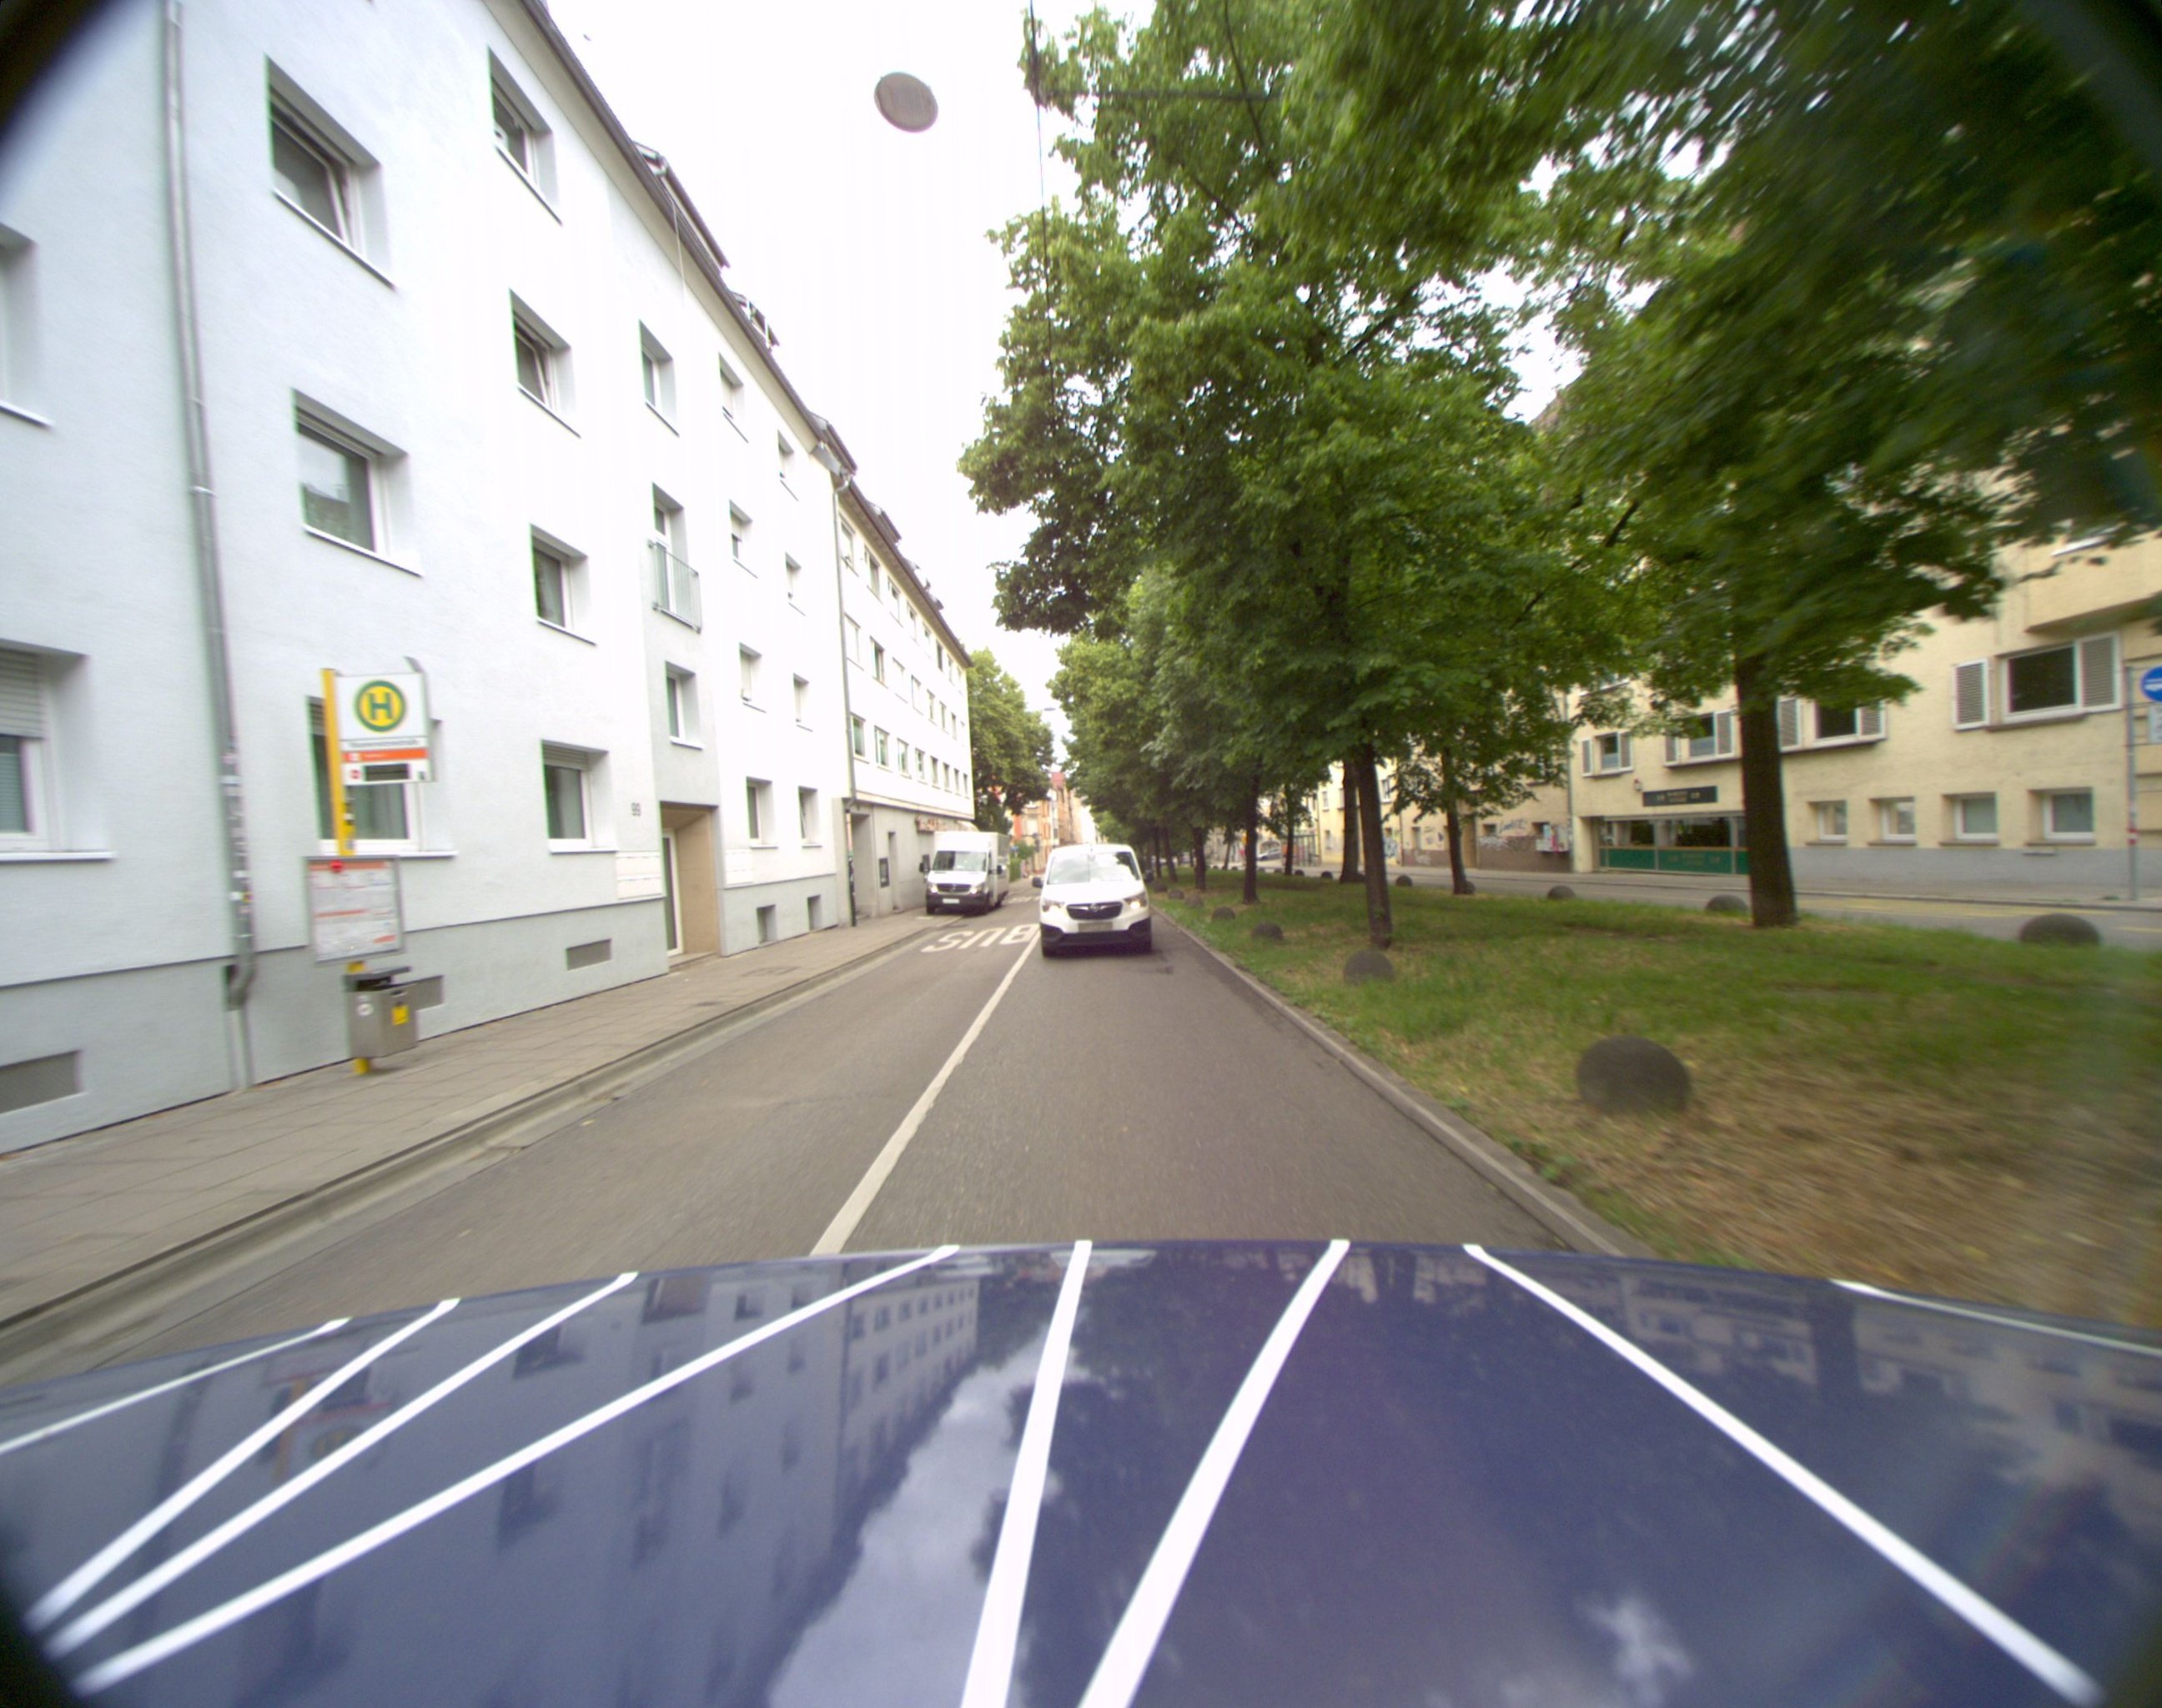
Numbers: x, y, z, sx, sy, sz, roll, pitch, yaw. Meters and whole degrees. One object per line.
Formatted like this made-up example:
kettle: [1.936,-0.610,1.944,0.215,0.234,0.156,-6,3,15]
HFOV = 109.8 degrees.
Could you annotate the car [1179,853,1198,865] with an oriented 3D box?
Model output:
car: [15.112,0.696,107.176,1.953,1.619,4.365,-2,0,0]

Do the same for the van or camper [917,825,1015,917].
van or camper: [-3.884,0.536,27.194,2.486,2.786,7.237,-2,0,-1]

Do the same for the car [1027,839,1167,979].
car: [0.455,0.748,12.560,1.745,1.830,4.345,-3,0,8]

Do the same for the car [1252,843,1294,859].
car: [22.052,-0.326,87.437,4.298,1.411,2.048,-6,-1,4]

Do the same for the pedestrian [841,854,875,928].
pedestrian: [-6.220,1.022,21.224,0.635,2.002,0.686,-3,1,1]
